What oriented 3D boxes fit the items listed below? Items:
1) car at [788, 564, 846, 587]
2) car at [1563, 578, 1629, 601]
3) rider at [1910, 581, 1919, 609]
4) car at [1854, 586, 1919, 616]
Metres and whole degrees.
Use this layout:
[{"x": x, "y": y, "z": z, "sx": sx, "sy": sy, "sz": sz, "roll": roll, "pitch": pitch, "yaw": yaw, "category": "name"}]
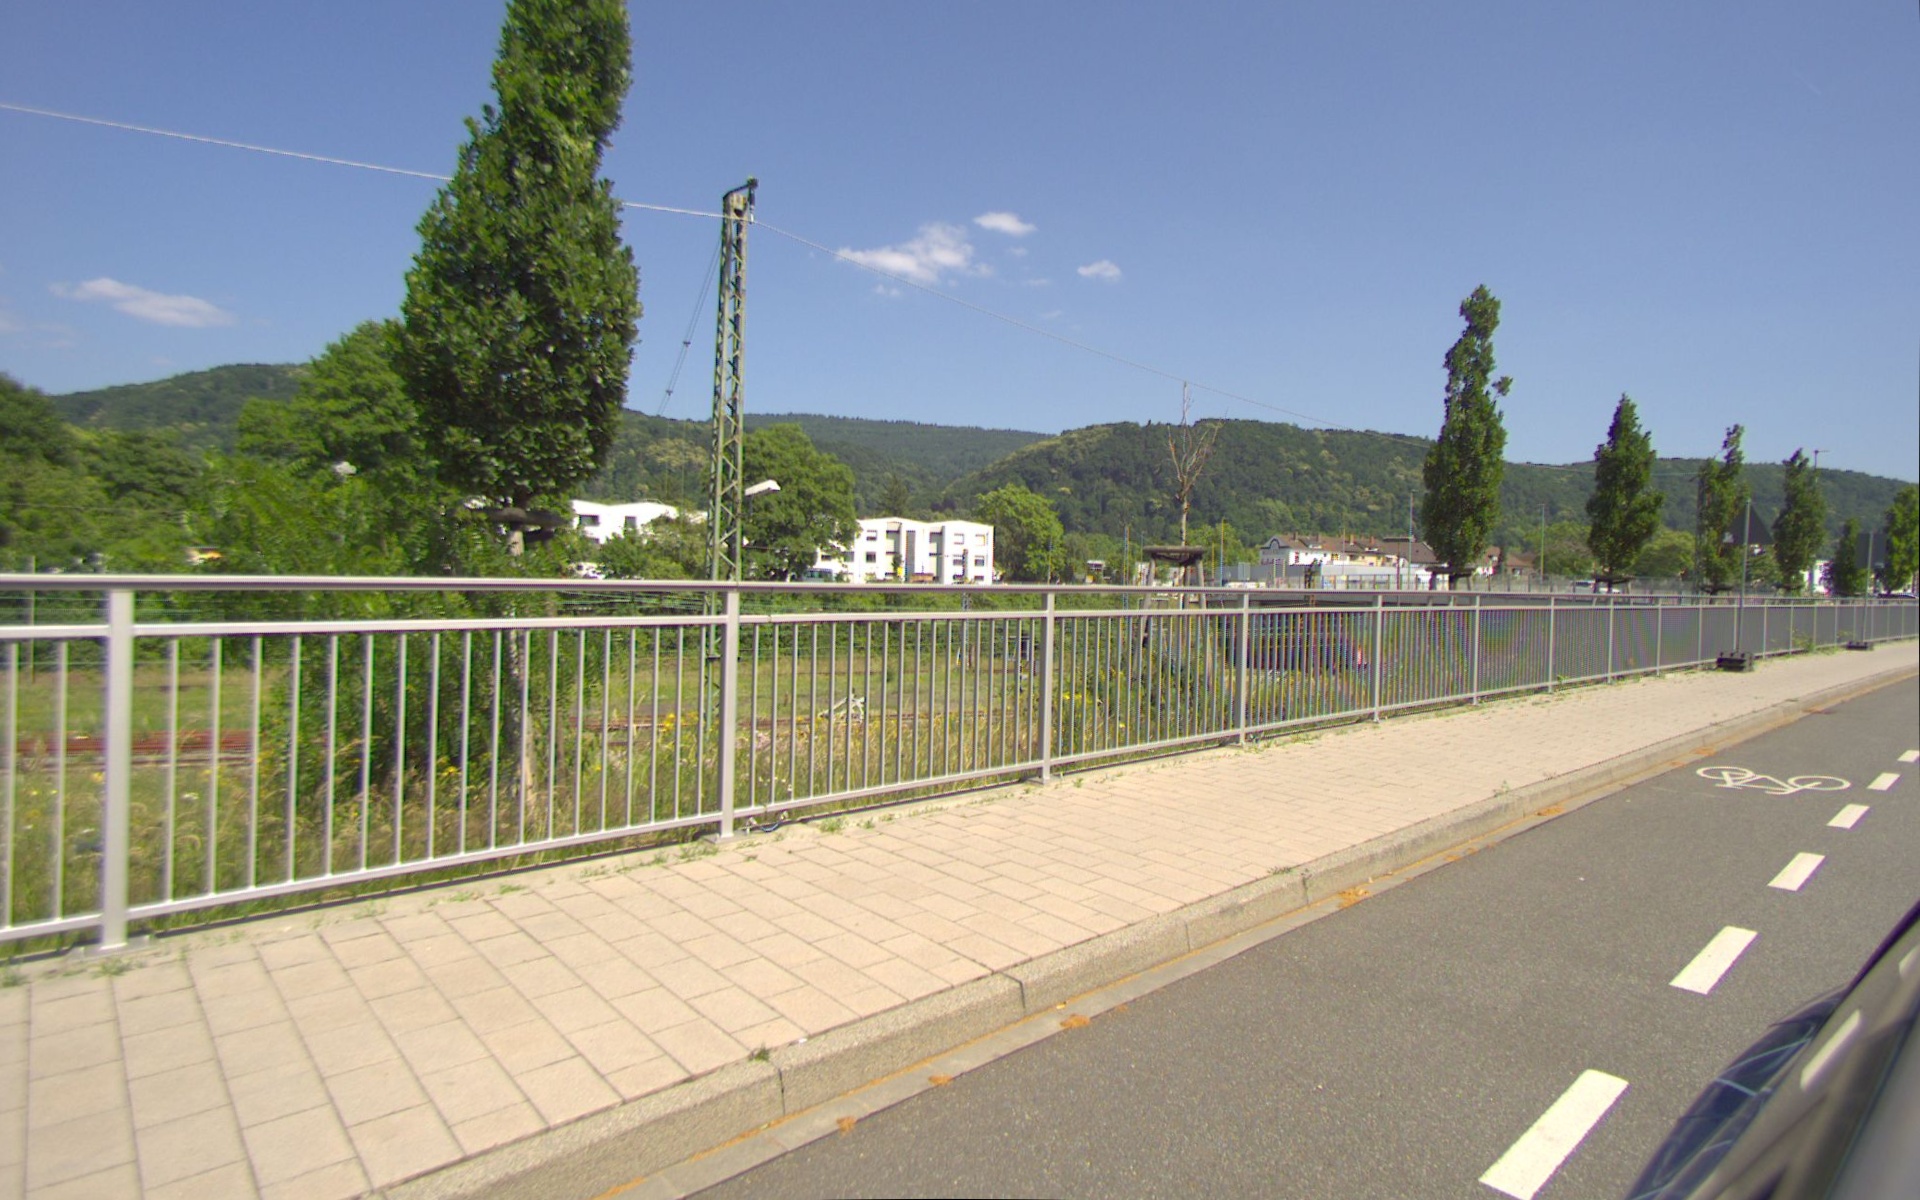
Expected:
[{"x": -14.658, "y": -2.488, "z": 103.749, "sx": 5.410, "sy": 2.129, "sz": 2.136, "roll": -1, "pitch": -3, "yaw": -31, "category": "car"}, {"x": 50.970, "y": -0.855, "z": 81.240, "sx": 1.794, "sy": 1.672, "sz": 4.590, "roll": -2, "pitch": 2, "yaw": -11, "category": "car"}, {"x": 62.508, "y": -0.338, "z": 65.906, "sx": 0.536, "sy": 1.836, "sz": 0.687, "roll": -2, "pitch": 1, "yaw": -14, "category": "rider"}, {"x": 56.752, "y": 0.044, "z": 60.553, "sx": 1.794, "sy": 1.672, "sz": 4.777, "roll": -2, "pitch": 2, "yaw": -11, "category": "car"}]
